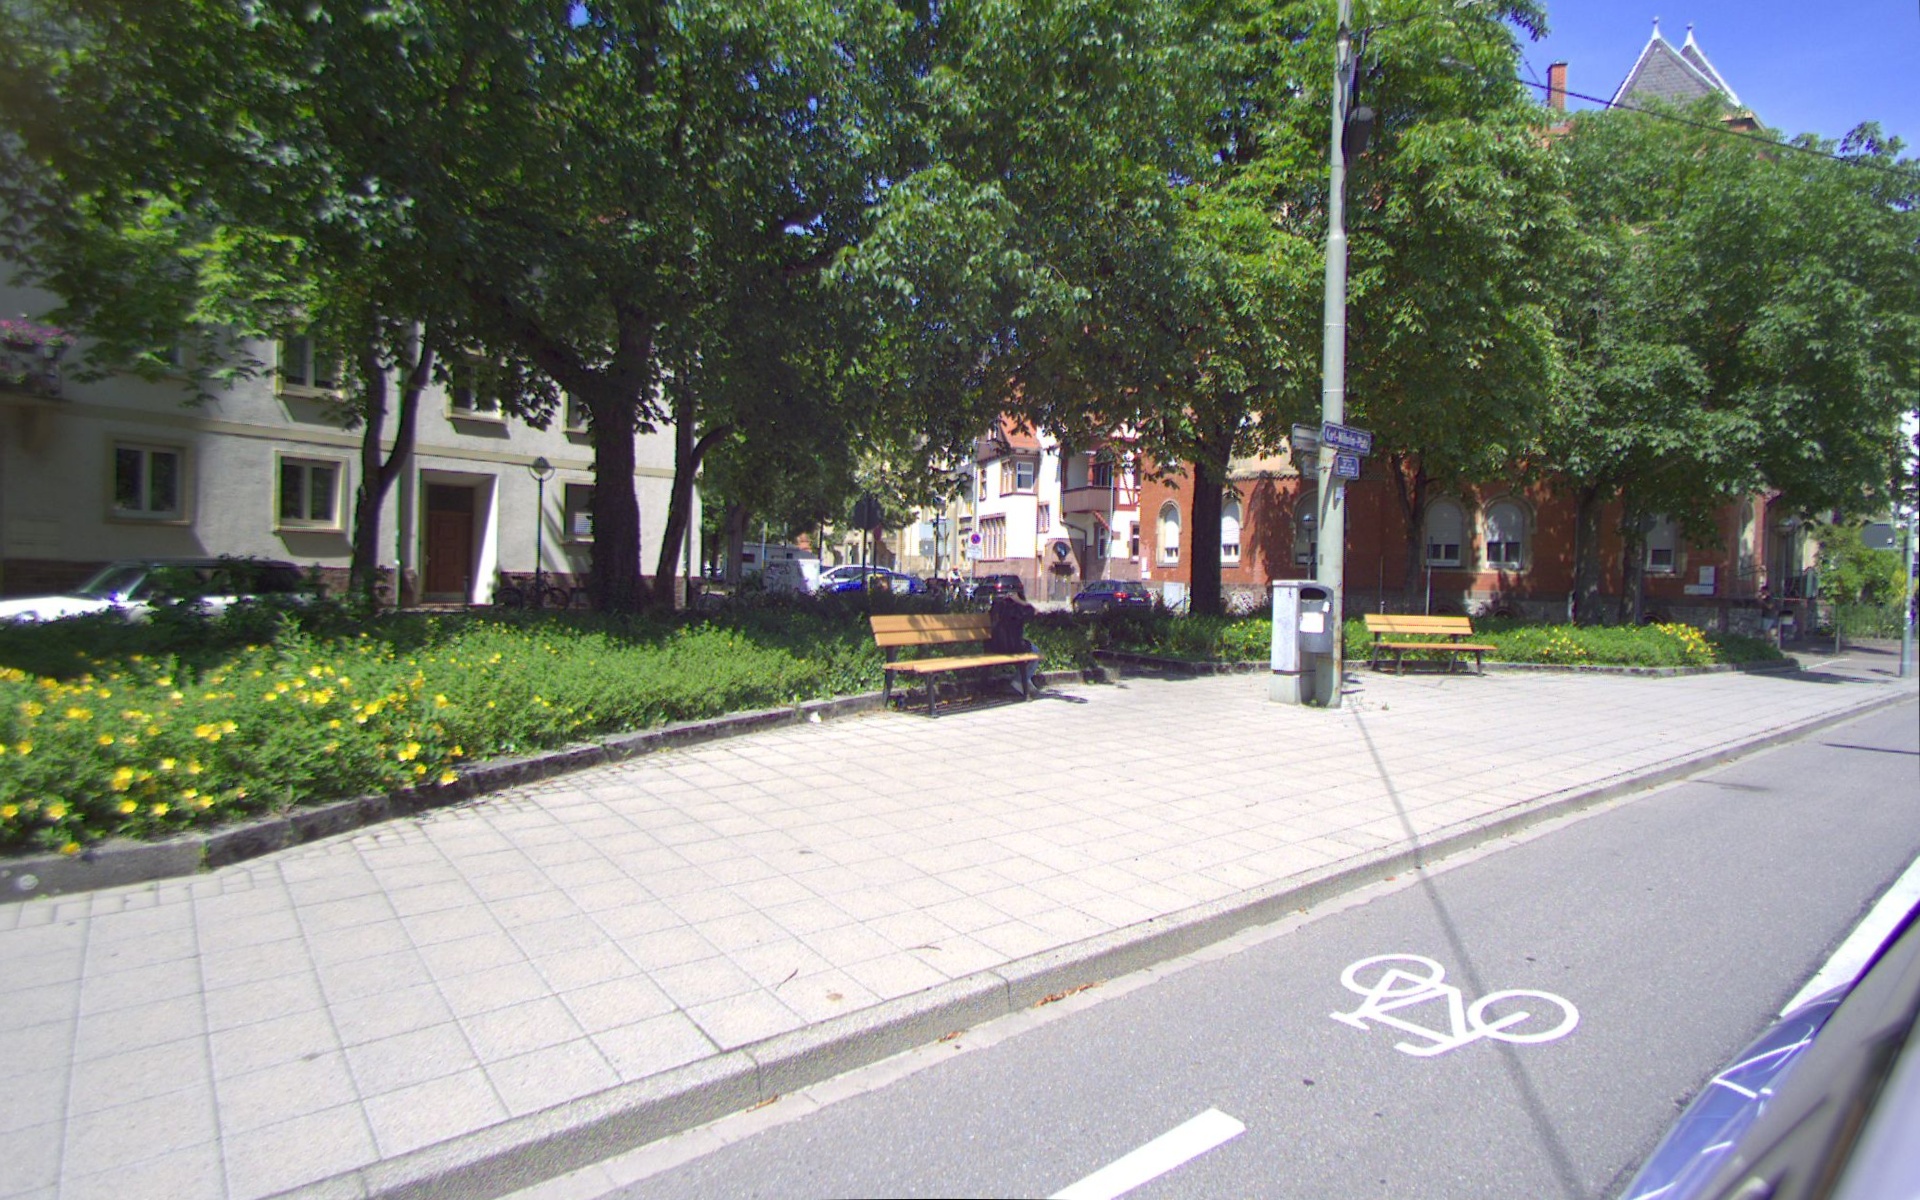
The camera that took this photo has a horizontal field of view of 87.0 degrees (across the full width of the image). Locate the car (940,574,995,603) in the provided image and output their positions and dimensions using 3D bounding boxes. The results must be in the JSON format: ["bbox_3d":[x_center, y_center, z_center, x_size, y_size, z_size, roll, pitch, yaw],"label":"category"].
[{"bbox_3d":[0.381,-0.656,58.689,1.897,1.638,4.318,0,0,-19],"label":"car"}]

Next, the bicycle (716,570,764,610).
[{"bbox_3d":[-5.865,-0.269,26.910,0.736,1.024,2.273,0,0,-26],"label":"bicycle"}]

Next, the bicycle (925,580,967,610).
[{"bbox_3d":[-0.661,-0.245,44.956,0.935,1.279,3.752,0,0,-15],"label":"bicycle"}]

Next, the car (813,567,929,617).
[{"bbox_3d":[-3.542,-0.323,40.022,4.219,1.903,1.942,0,0,-18],"label":"car"}]

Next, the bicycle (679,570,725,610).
[{"bbox_3d":[-6.772,-0.260,26.481,0.736,1.024,2.273,0,0,-26],"label":"bicycle"}]

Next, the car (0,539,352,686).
[{"bbox_3d":[-9.815,0.110,12.477,1.690,1.525,3.616,2,1,28],"label":"car"}]

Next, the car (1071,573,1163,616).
[{"bbox_3d":[6.277,-0.233,41.033,1.897,1.638,4.318,0,0,-19],"label":"car"}]

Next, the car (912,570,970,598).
[{"bbox_3d":[-1.090,-0.882,55.981,1.897,1.501,5.046,0,0,-17],"label":"car"}]

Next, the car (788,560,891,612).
[{"bbox_3d":[-5.369,-0.630,44.835,4.219,2.219,1.942,0,0,-18],"label":"car"}]

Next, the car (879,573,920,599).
[{"bbox_3d":[-4.502,-1.009,74.468,1.897,1.897,4.318,0,0,-19],"label":"car"}]

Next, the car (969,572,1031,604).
[{"bbox_3d":[2.068,-0.621,54.082,1.897,1.638,4.318,0,0,-19],"label":"car"}]

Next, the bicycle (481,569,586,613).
[{"bbox_3d":[-10.249,-0.223,24.381,2.230,1.024,0.751,-1,0,-41],"label":"bicycle"}]

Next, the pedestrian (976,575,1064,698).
[{"bbox_3d":[0.603,0.337,10.081,0.562,1.156,0.718,3,2,33],"label":"pedestrian"}]

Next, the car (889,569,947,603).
[{"bbox_3d":[-2.175,-0.704,51.336,1.897,1.638,4.534,0,0,-16],"label":"car"}]

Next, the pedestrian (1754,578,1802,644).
[{"bbox_3d":[23.621,0.300,29.227,0.827,1.846,0.670,2,1,17],"label":"pedestrian"}]

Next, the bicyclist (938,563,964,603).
[{"bbox_3d":[-0.391,-0.735,43.992,0.856,1.717,1.257,0,0,-15],"label":"bicyclist"}]

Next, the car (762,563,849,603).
[{"bbox_3d":[-8.083,-0.885,52.944,4.219,2.029,1.942,0,0,-18],"label":"car"}]
